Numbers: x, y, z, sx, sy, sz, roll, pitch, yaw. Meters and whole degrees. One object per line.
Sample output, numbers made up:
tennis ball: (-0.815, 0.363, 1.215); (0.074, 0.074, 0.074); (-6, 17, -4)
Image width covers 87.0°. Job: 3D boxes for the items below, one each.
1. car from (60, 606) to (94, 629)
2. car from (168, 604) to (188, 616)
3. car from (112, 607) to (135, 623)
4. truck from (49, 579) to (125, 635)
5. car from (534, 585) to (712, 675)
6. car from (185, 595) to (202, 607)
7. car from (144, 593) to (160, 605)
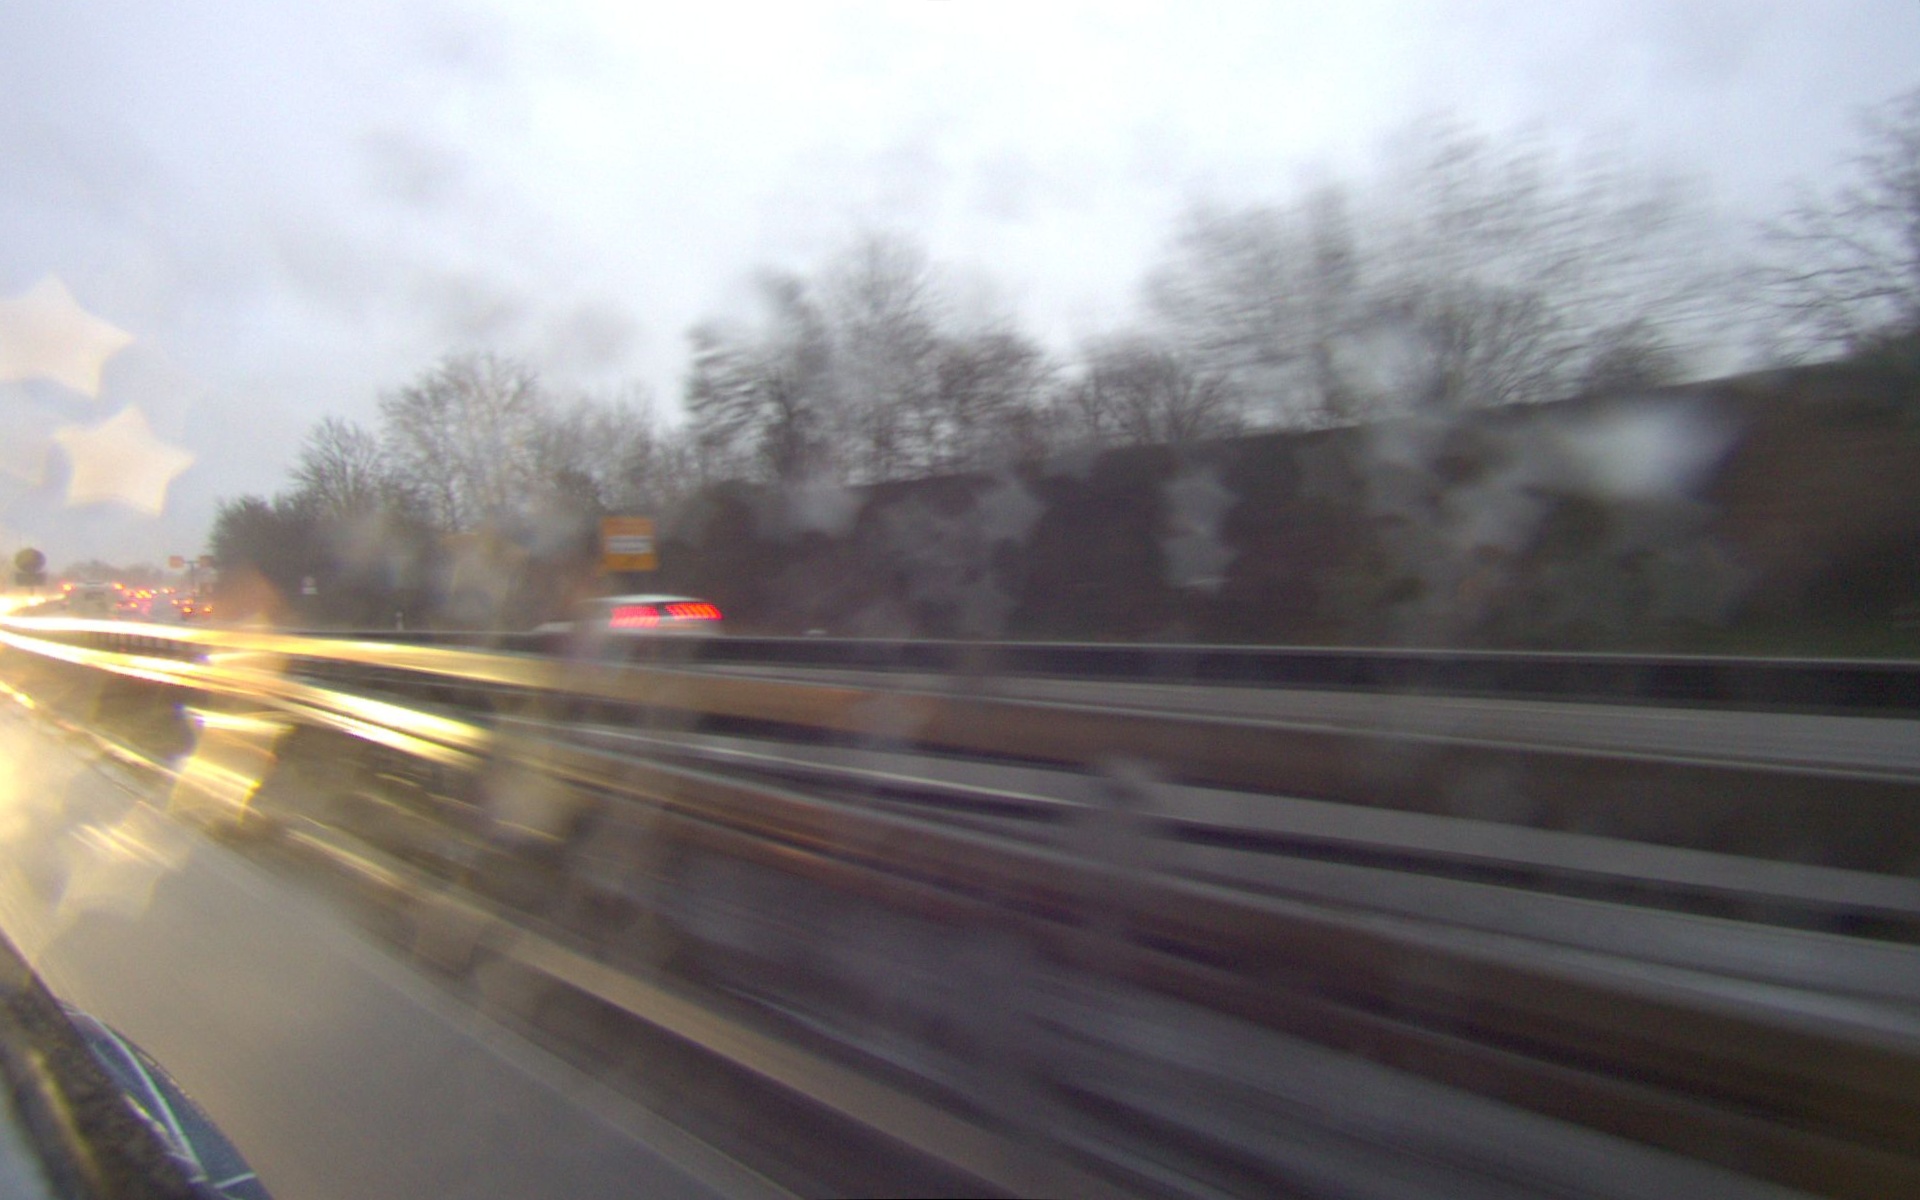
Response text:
car: (-77.748, 1.497, 89.077); (1.964, 1.844, 5.123); (-2, 2, -44)
car: (-106.775, 1.330, 138.144); (1.840, 1.550, 4.118); (-2, 2, -42)
car: (-93.119, 1.634, 112.667); (1.672, 1.678, 4.437); (-2, 2, -43)
truck: (-53.290, 0.372, 61.700); (7.730, 3.184, 2.685); (1, 2, 44)
car: (-7.045, 0.569, 20.951); (4.294, 1.682, 1.565); (-1, 0, 42)
car: (-122.403, 0.120, 161.590); (1.857, 1.846, 4.793); (-2, 2, -42)
car: (-142.164, -0.187, 177.981); (1.860, 1.846, 4.793); (-2, 2, -42)
